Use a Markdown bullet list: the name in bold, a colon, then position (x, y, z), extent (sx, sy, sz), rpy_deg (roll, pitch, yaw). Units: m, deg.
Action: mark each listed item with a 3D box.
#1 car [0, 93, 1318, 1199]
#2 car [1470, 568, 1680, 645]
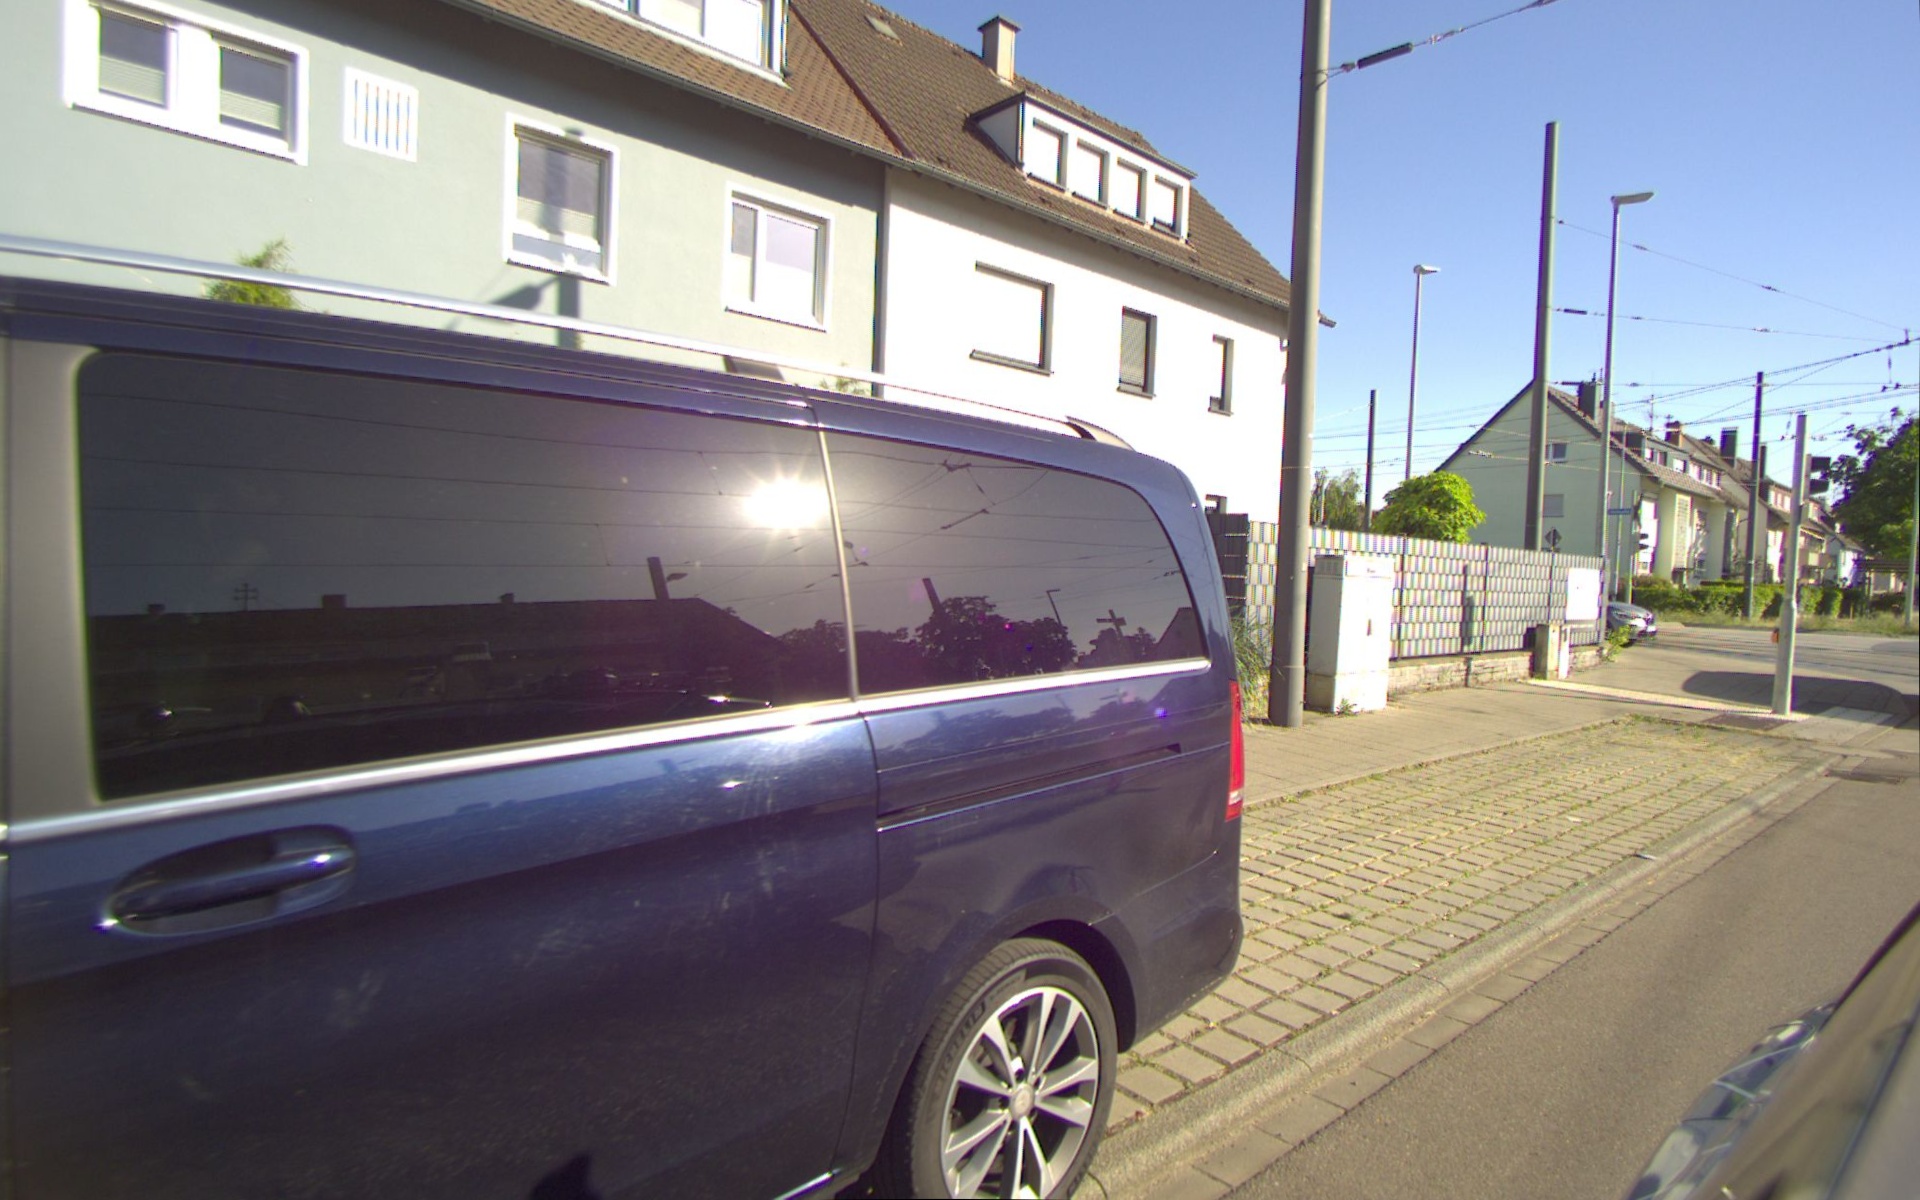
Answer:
- **car**: position (-1.564, 0.366, 1.834), extent (4.840, 1.858, 1.966), rpy_deg (0, 3, -41)
- **car**: position (15.010, 0.103, 24.894), extent (1.796, 1.598, 4.001), rpy_deg (1, 3, -36)
